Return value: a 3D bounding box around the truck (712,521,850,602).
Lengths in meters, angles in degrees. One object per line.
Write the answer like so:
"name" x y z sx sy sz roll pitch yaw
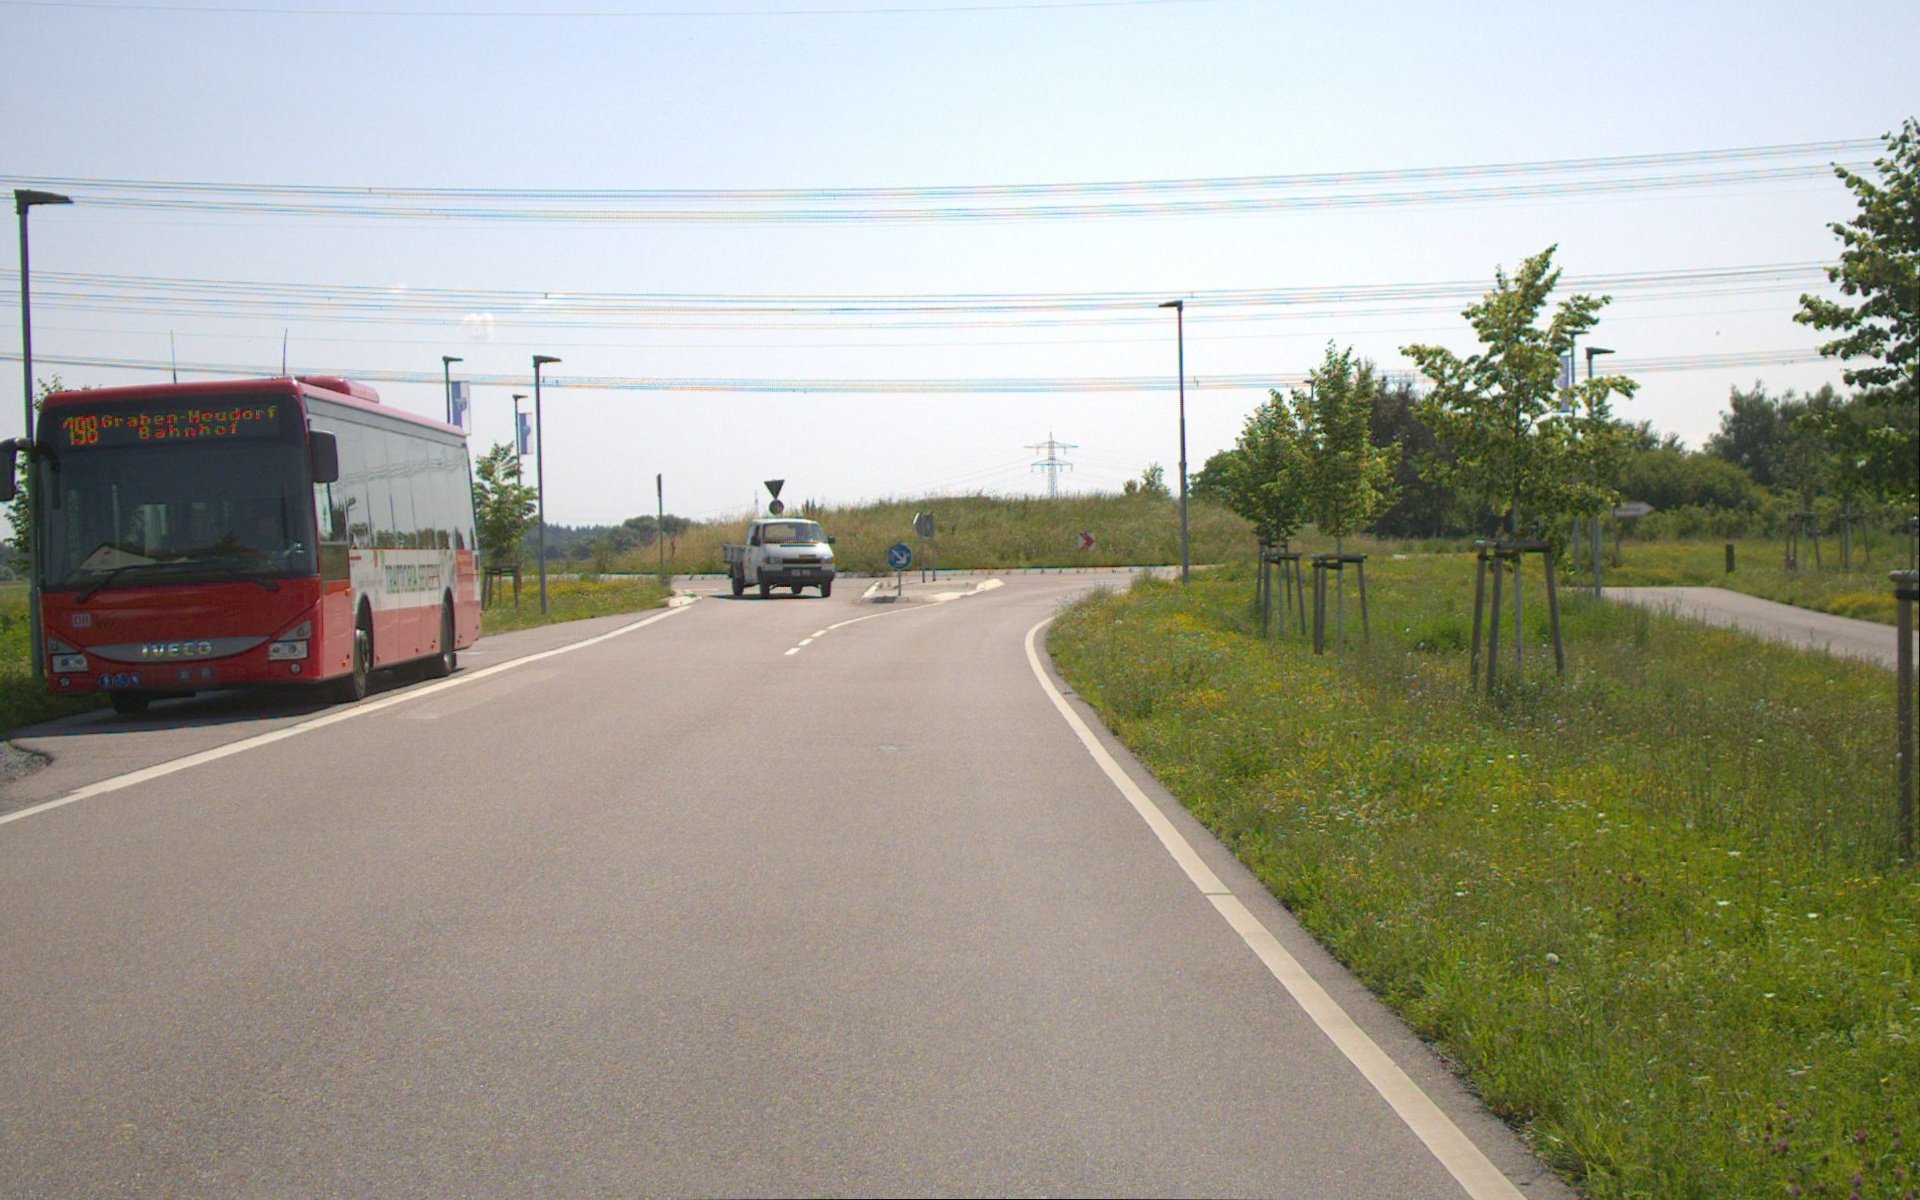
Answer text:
"truck" -4.572 -0.980 86.815 1.951 1.978 5.646 0 1 -19

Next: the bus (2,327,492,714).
"bus" -7.087 -0.772 36.279 2.794 3.276 12.230 -3 1 -1
